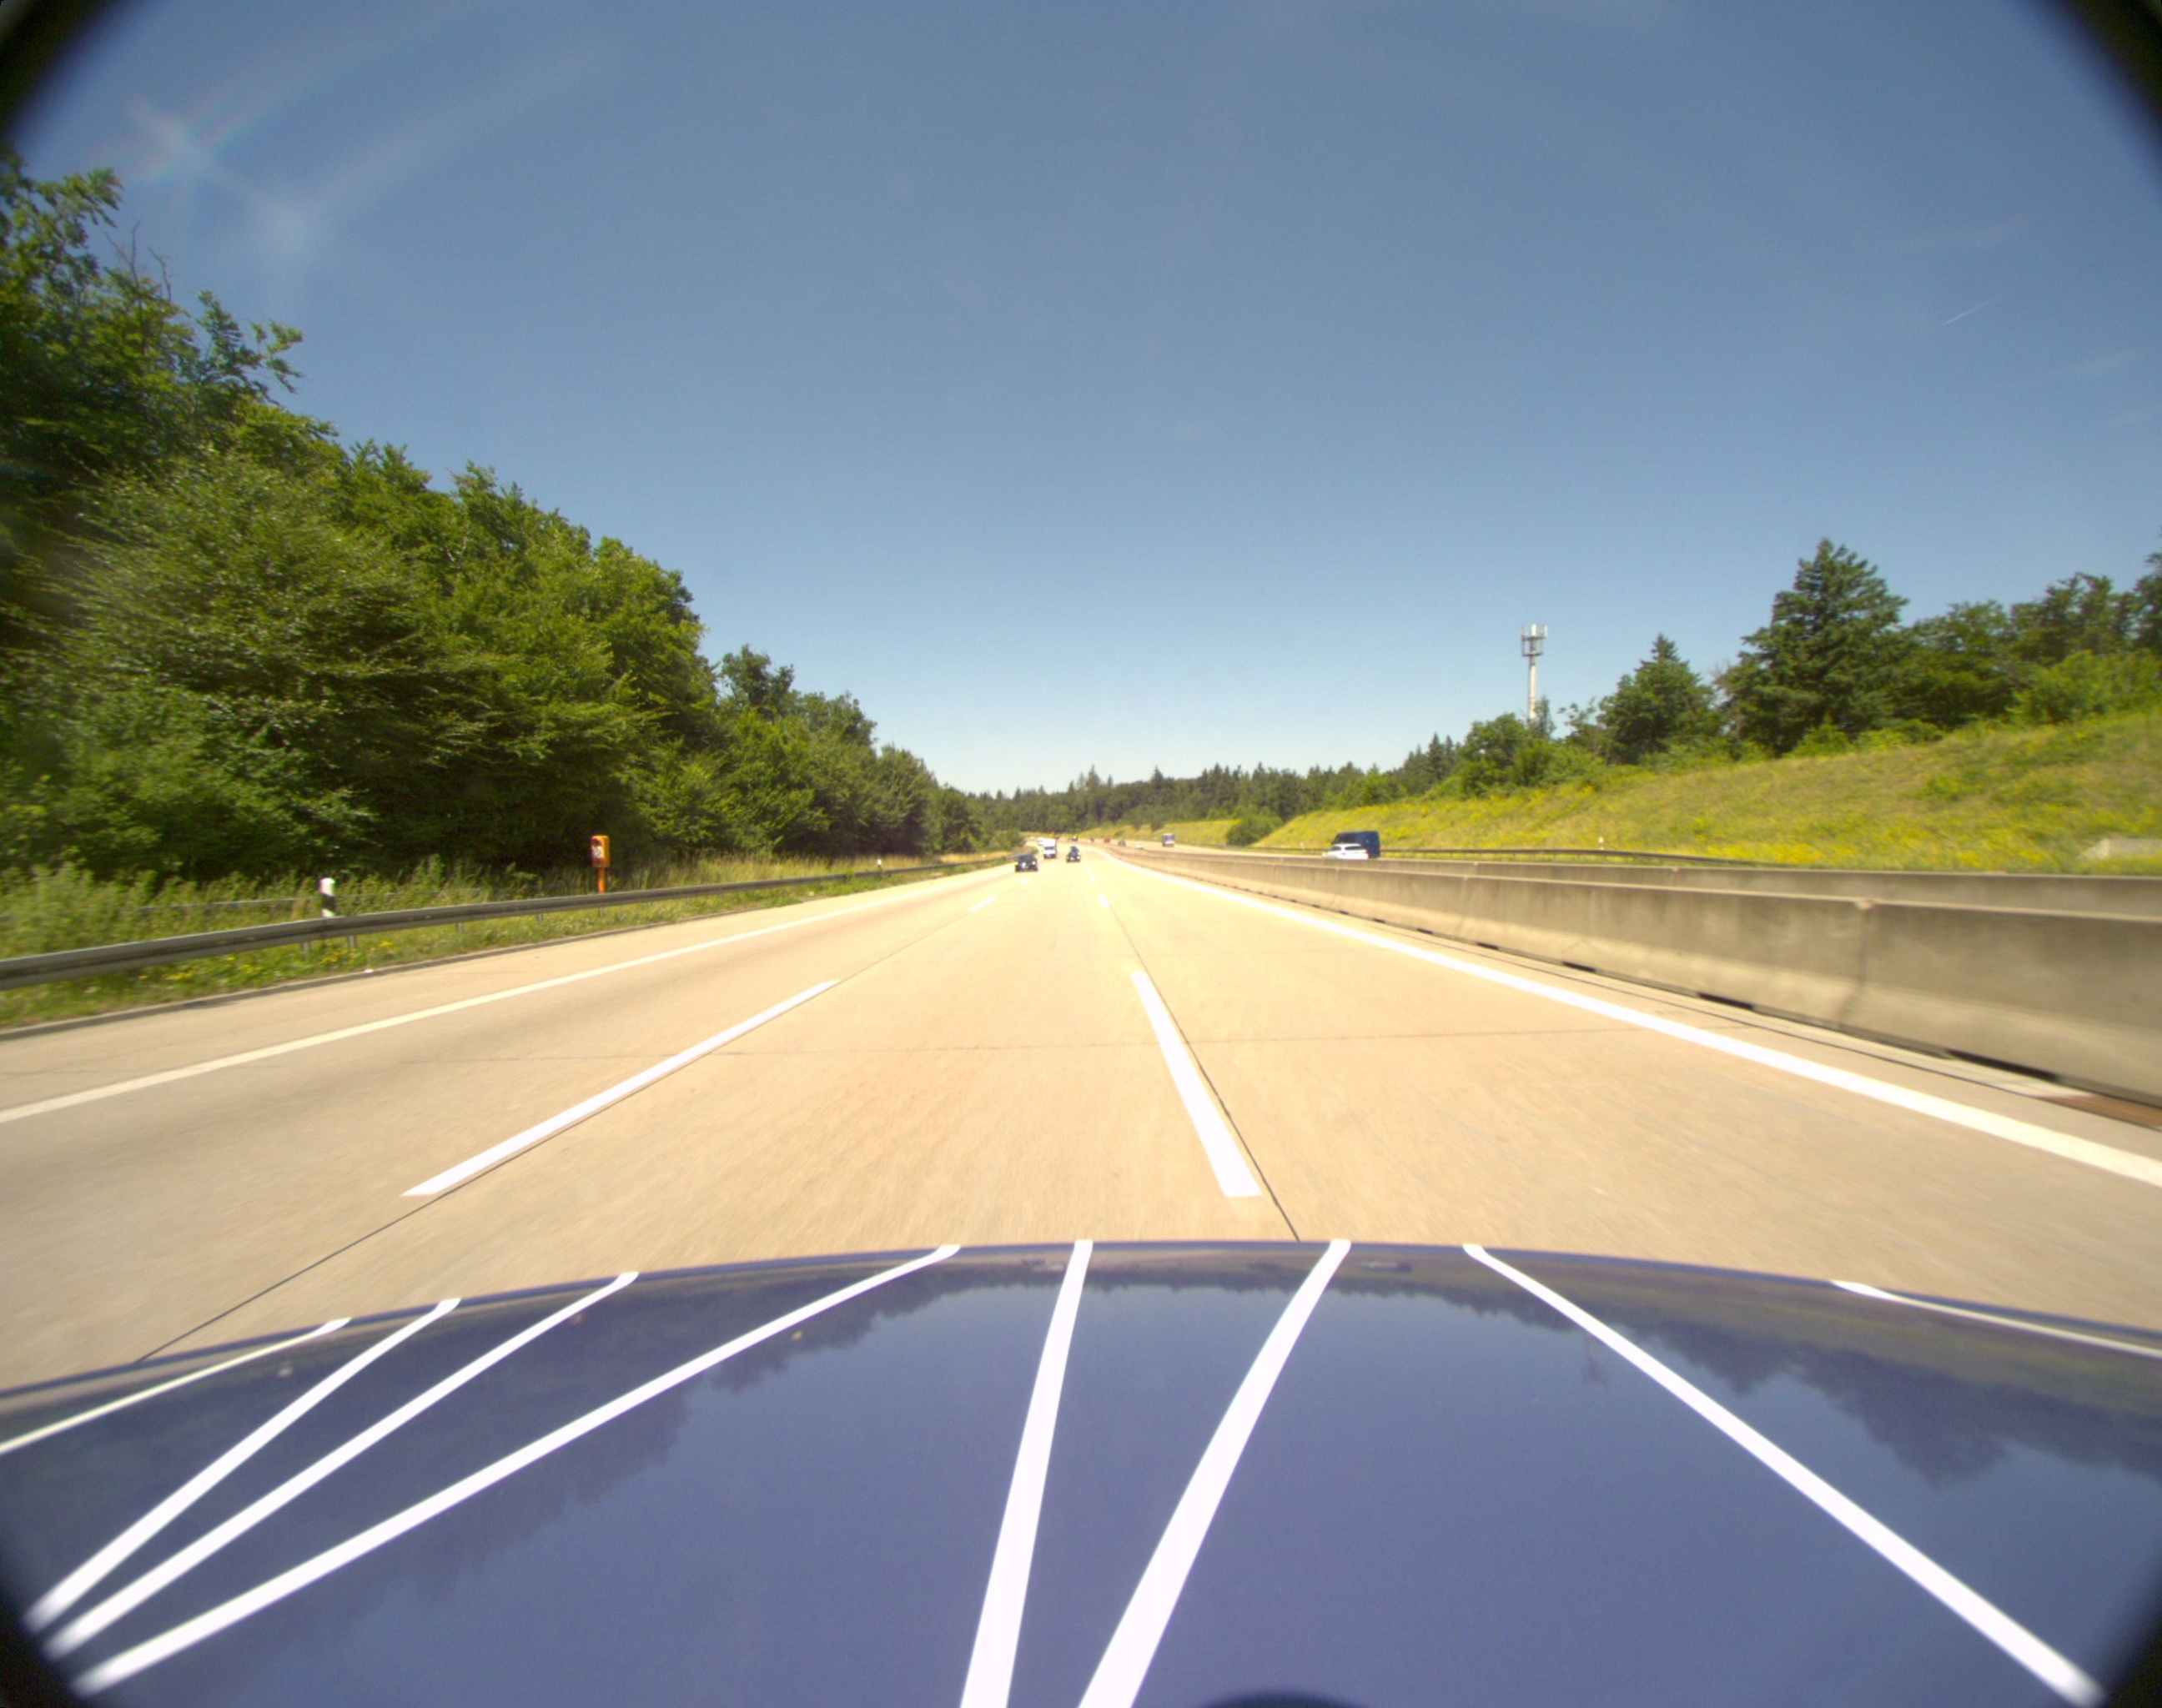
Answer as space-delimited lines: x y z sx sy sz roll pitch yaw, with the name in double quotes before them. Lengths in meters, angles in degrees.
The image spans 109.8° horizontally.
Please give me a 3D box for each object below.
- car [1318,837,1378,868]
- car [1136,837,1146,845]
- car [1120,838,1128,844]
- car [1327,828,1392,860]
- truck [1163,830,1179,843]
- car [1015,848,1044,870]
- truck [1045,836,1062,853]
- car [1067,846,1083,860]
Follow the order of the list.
"car" 16.695 -0.109 47.726 2.013 1.797 4.853 -2 1 0
"car" 13.887 -3.014 175.953 1.999 1.595 4.410 -3 1 -2
"car" 12.369 -3.789 217.781 1.999 1.595 4.657 -3 1 -1
"car" 20.916 -0.768 57.433 2.487 2.197 6.458 -2 1 0
"truck" 21.539 -4.104 182.188 2.568 2.972 7.833 -3 1 0
"car" -4.359 0.422 64.955 1.931 1.694 4.399 -3 1 2
"truck" -4.839 -1.618 132.843 2.483 2.780 5.914 -3 1 2
"car" -0.792 -0.207 101.733 1.998 1.694 4.399 -3 1 2
